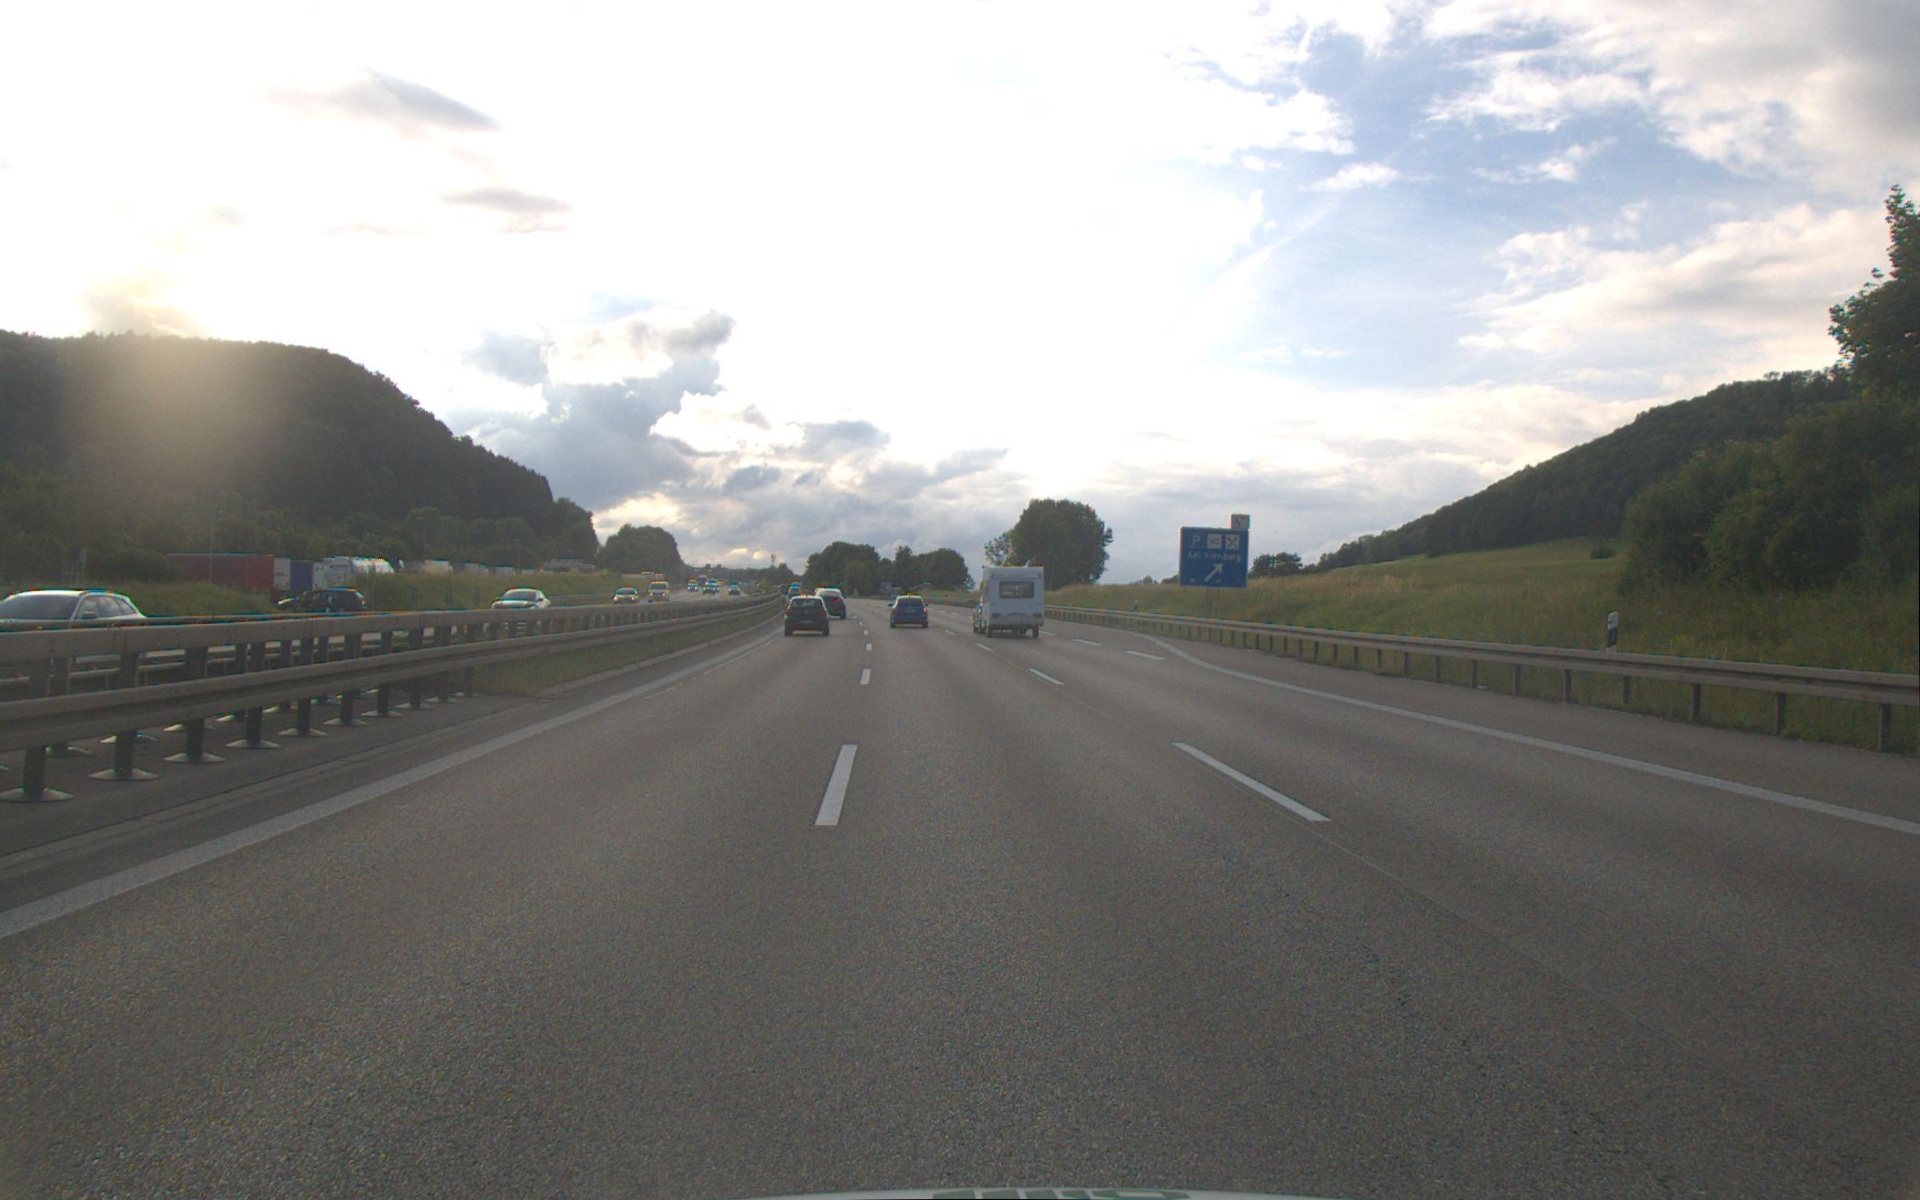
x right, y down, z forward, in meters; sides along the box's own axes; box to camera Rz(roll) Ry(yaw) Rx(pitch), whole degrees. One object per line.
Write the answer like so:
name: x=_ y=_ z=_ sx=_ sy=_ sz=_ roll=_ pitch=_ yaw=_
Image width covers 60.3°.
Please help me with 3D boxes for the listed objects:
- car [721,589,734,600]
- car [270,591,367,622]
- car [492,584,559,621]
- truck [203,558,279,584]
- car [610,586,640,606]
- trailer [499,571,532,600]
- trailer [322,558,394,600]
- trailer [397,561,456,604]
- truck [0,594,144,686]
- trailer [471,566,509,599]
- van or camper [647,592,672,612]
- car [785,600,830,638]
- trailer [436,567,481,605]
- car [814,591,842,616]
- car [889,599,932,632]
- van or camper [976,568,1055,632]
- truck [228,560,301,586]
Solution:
car: x=-34.923 y=-0.822 z=248.830 sx=1.772 sy=1.642 sz=4.335 roll=1 pitch=-1 yaw=-6
car: x=-33.576 y=0.350 z=86.688 sx=4.527 sy=1.578 sz=1.992 roll=0 pitch=0 yaw=-15
car: x=-19.085 y=0.130 z=72.807 sx=1.954 sy=1.523 sz=4.688 roll=-1 pitch=0 yaw=-4
truck: x=-62.085 y=-2.470 z=142.777 sx=7.164 sy=2.049 sz=2.888 roll=0 pitch=-2 yaw=37
car: x=-25.980 y=-0.304 z=128.375 sx=1.956 sy=1.523 sz=4.684 roll=0 pitch=0 yaw=-7
trailer: x=-58.710 y=-1.853 z=218.522 sx=2.823 sy=3.761 sz=10.355 roll=0 pitch=0 yaw=-7
trailer: x=-46.727 y=-1.548 z=128.778 sx=2.530 sy=2.903 sz=12.243 roll=1 pitch=-1 yaw=-7
trailer: x=-49.213 y=-1.548 z=152.994 sx=2.823 sy=3.761 sz=13.652 roll=-1 pitch=0 yaw=-8
truck: x=-15.488 y=0.601 z=27.354 sx=1.954 sy=1.389 sz=4.642 roll=0 pitch=0 yaw=-4
trailer: x=-55.713 y=-2.017 z=196.183 sx=2.823 sy=3.761 sz=10.355 roll=0 pitch=0 yaw=-7
van or camper: x=-28.801 y=0.191 z=158.563 sx=1.878 sy=1.906 sz=4.750 roll=0 pitch=0 yaw=-5
car: x=-5.751 y=0.706 z=62.714 sx=1.507 sy=1.371 sz=3.675 roll=0 pitch=0 yaw=-3
trailer: x=-53.045 y=-1.385 z=175.149 sx=2.825 sy=3.761 sz=13.643 roll=-1 pitch=0 yaw=-10
car: x=-7.688 y=0.209 z=95.998 sx=1.535 sy=1.404 sz=3.995 roll=0 pitch=0 yaw=-6
car: x=-2.306 y=0.695 z=76.738 sx=1.733 sy=1.458 sz=3.995 roll=-1 pitch=0 yaw=-6
van or camper: x=2.019 y=0.053 z=62.148 sx=2.497 sy=2.279 sz=5.325 roll=0 pitch=-1 yaw=-3
truck: x=-62.404 y=-2.421 z=148.398 sx=7.164 sy=2.265 sz=2.888 roll=0 pitch=0 yaw=37
